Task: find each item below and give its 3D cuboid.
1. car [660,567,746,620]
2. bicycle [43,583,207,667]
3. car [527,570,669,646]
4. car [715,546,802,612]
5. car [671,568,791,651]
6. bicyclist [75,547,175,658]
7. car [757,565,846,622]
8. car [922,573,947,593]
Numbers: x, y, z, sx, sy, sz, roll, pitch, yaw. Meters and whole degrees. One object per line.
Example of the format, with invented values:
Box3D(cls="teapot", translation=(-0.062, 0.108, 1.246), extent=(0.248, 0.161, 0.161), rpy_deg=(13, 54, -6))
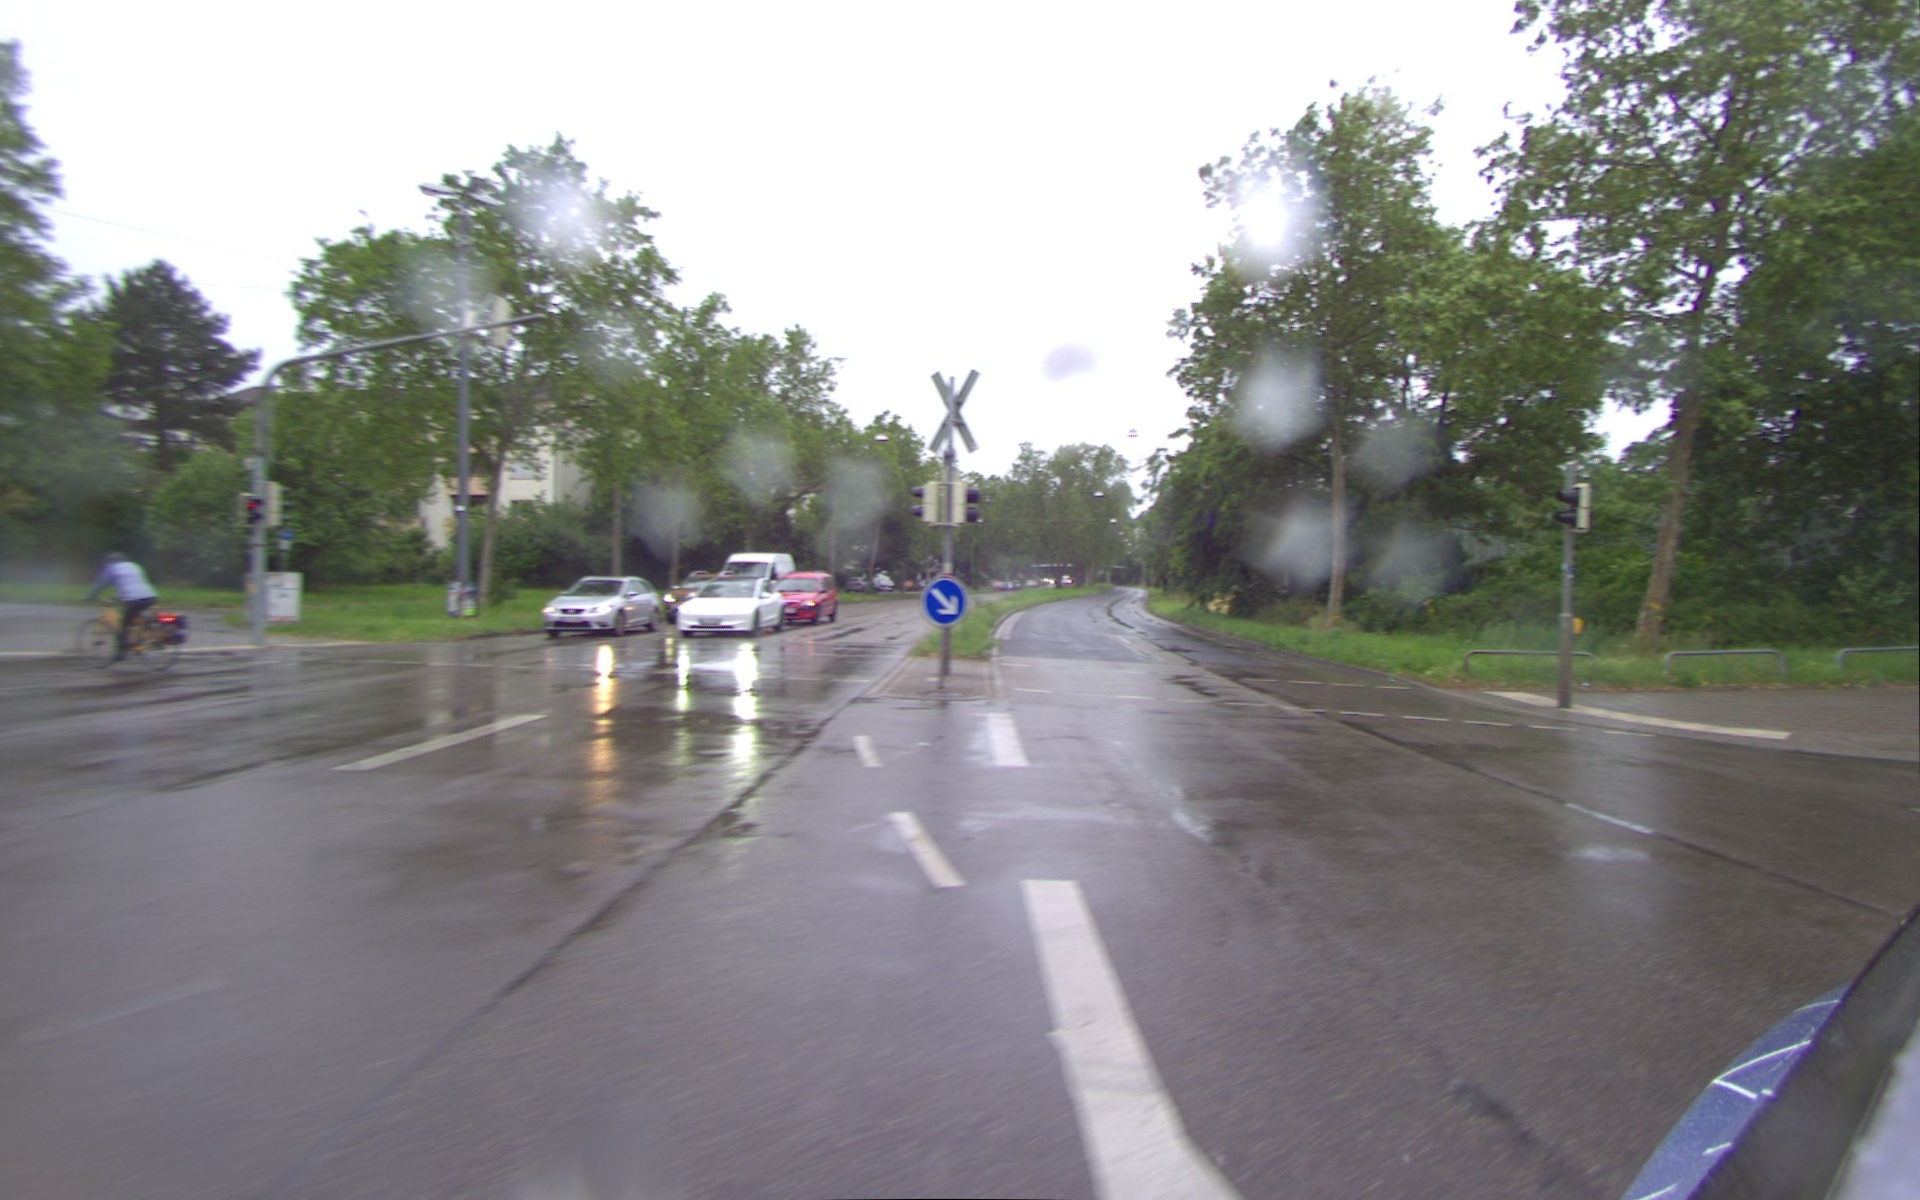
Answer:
Box3D(cls="car", translation=(-8.448, -0.217, 33.612), extent=(1.757, 1.627, 4.067), rpy_deg=(1, 0, 1))
Box3D(cls="bicycle", translation=(-11.693, 0.340, 14.194), extent=(1.852, 1.131, 0.691), rpy_deg=(0, 0, 7))
Box3D(cls="car", translation=(-8.926, 0.187, 25.371), extent=(1.898, 1.712, 4.406), rpy_deg=(1, 0, 1))
Box3D(cls="car", translation=(-7.921, -0.795, 40.357), extent=(1.964, 2.422, 5.616), rpy_deg=(1, 0, 4))
Box3D(cls="car", translation=(-5.609, 0.218, 25.399), extent=(1.898, 1.851, 4.607), rpy_deg=(1, 0, 1))
Box3D(cls="bicyclist", translation=(-11.693, 0.030, 14.193), extent=(0.829, 1.525, 0.692), rpy_deg=(0, 0, 6))
Box3D(cls="car", translation=(-4.896, -0.198, 31.915), extent=(1.759, 1.627, 4.613), rpy_deg=(1, 0, 5))
Box3D(cls="car", translation=(-2.193, -1.483, 88.149), extent=(1.963, 1.661, 3.998), rpy_deg=(1, 0, 2))
